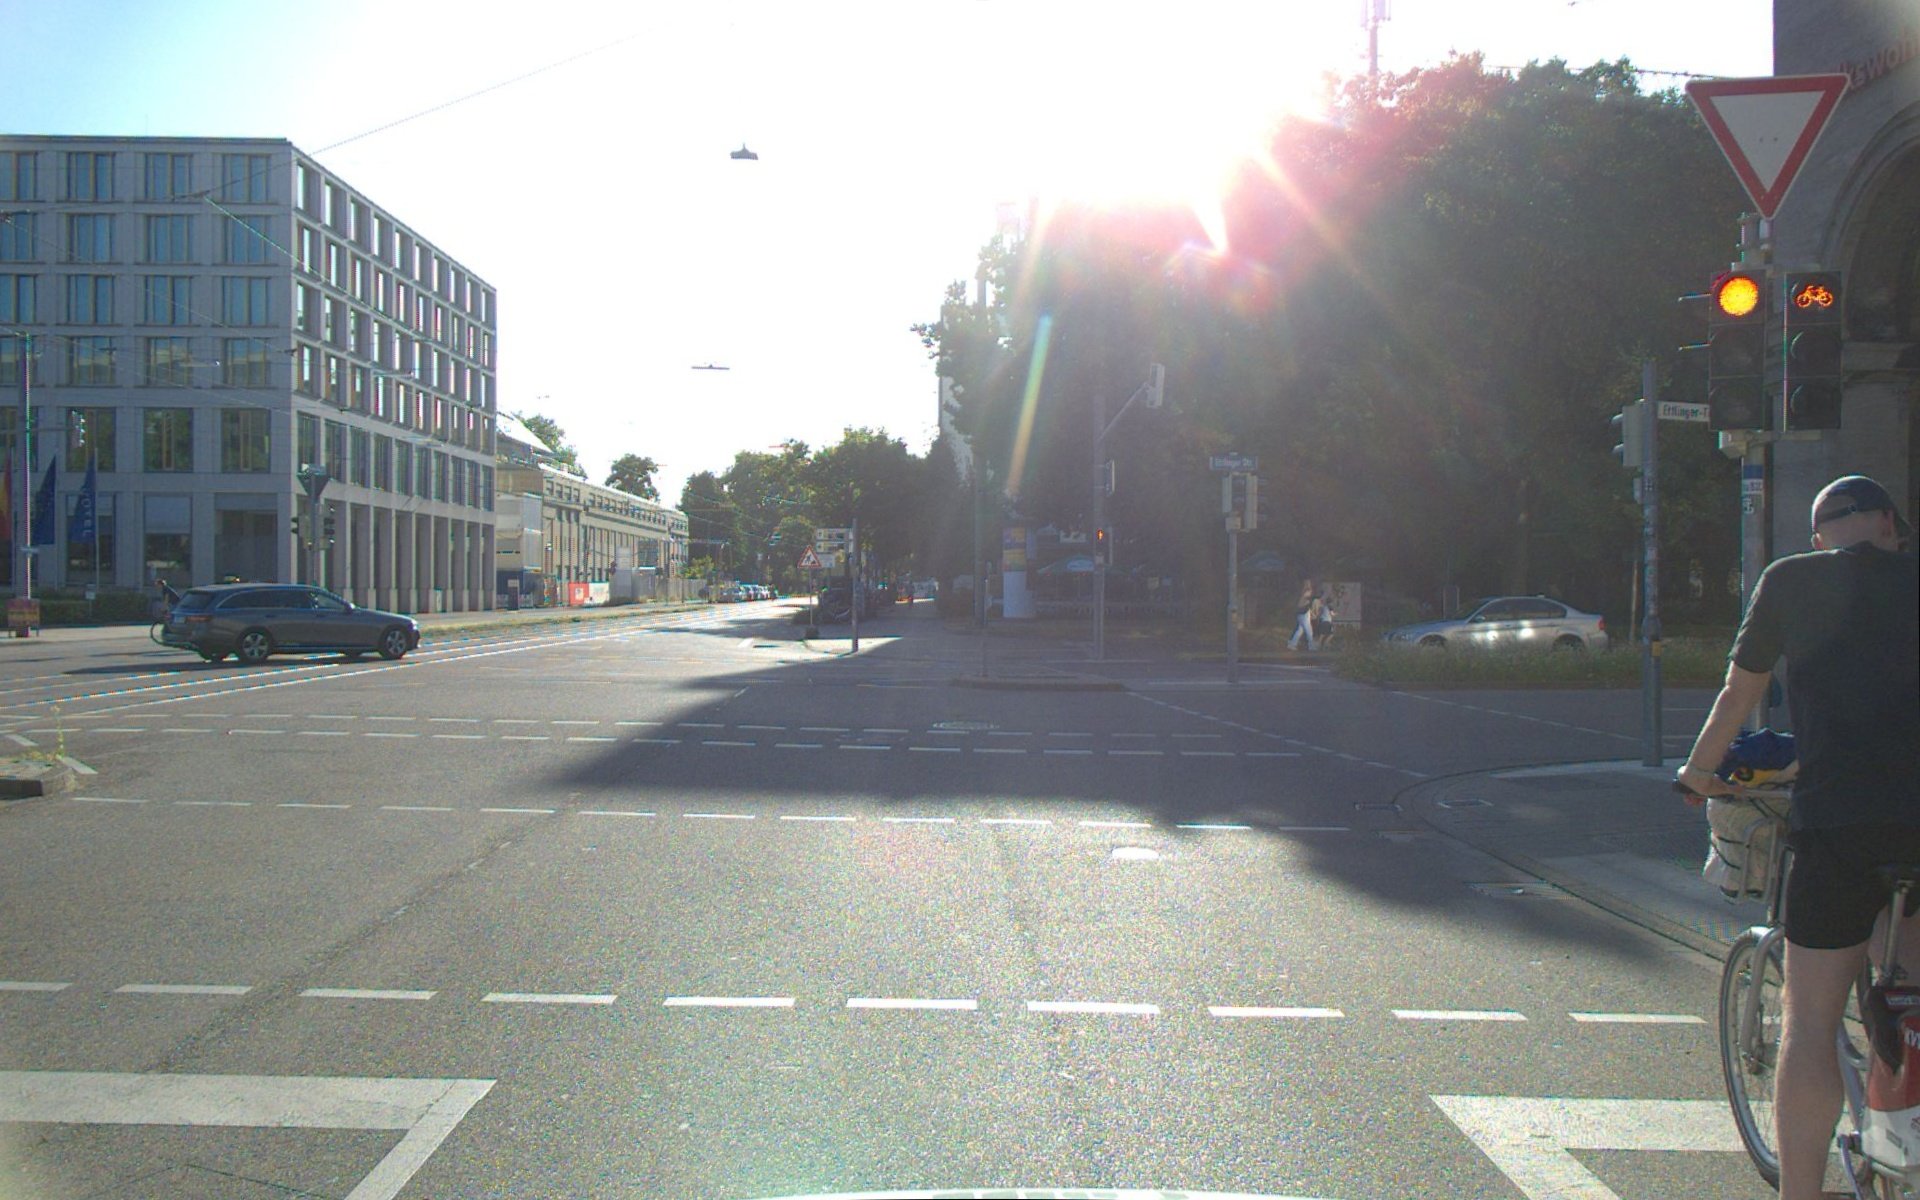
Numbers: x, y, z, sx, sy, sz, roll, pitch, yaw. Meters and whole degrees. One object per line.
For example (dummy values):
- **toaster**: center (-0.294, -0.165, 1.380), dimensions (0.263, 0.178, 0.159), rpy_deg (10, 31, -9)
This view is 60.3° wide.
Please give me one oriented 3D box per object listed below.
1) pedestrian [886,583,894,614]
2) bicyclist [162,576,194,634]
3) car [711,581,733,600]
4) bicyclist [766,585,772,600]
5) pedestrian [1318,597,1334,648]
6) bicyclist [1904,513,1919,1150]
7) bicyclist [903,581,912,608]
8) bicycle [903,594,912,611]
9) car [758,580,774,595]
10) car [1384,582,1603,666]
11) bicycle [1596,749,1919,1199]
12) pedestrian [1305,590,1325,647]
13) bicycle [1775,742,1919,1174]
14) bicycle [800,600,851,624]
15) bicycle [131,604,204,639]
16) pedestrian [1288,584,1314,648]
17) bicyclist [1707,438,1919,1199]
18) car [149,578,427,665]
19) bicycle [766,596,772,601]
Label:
- **pedestrian**: center (-4.168, -0.111, 98.185), dimensions (0.454, 1.845, 0.502), rpy_deg (0, 0, -5)
- **bicyclist**: center (-22.045, 0.146, 46.629), dimensions (0.764, 1.617, 0.756), rpy_deg (0, 0, -23)
- **car**: center (-22.470, -0.901, 156.108), dimensions (1.659, 1.748, 4.244), rpy_deg (1, 0, -4)
- **bicyclist**: center (-18.478, -0.729, 160.004), dimensions (0.584, 1.401, 0.637), rpy_deg (1, -1, -2)
- **pedestrian**: center (9.657, 0.599, 43.641), dimensions (0.310, 1.339, 0.345), rpy_deg (1, 1, 1)
- **bicyclist**: center (2.881, 0.629, 4.224), dimensions (0.546, 1.721, 0.640), rpy_deg (1, 0, -2)
- **bicyclist**: center (-3.434, -0.350, 108.084), dimensions (0.558, 1.721, 0.699), rpy_deg (0, 0, -1)
- **bicycle**: center (-3.435, 0.159, 108.073), dimensions (0.563, 1.096, 1.830), rpy_deg (0, 0, -1)
- **car**: center (-22.826, -1.439, 194.357), dimensions (1.659, 1.748, 4.244), rpy_deg (1, 0, -4)
- **car**: center (10.769, 0.477, 33.556), dimensions (3.912, 1.639, 1.650), rpy_deg (0, 0, -1)
- **bicycle**: center (2.069, 0.982, 3.884), dimensions (0.505, 1.096, 1.728), rpy_deg (1, 0, 1)
- **pedestrian**: center (9.586, 0.487, 44.651), dimensions (0.430, 1.529, 0.437), rpy_deg (0, 0, 0)
- **bicycle**: center (2.856, 1.001, 4.332), dimensions (0.523, 1.096, 1.750), rpy_deg (1, 0, -2)
- **bicycle**: center (-5.488, 0.506, 67.378), dimensions (1.976, 0.907, 0.650), rpy_deg (-2, -1, 27)
- **bicycle**: center (-22.301, 0.586, 46.563), dimensions (1.834, 0.951, 0.757), rpy_deg (0, 0, -25)
- **pedestrian**: center (9.105, 0.415, 44.192), dimensions (0.571, 1.692, 0.514), rpy_deg (1, 1, 1)
- **bicyclist**: center (2.087, 0.579, 3.726), dimensions (0.547, 1.830, 0.550), rpy_deg (1, 0, 1)
- **car**: center (-13.145, 0.375, 32.591), dimensions (1.865, 1.592, 4.777), rpy_deg (0, 0, 42)
- **bicycle**: center (-18.488, -0.151, 159.989), dimensions (0.491, 0.524, 1.257), rpy_deg (1, 0, -1)
